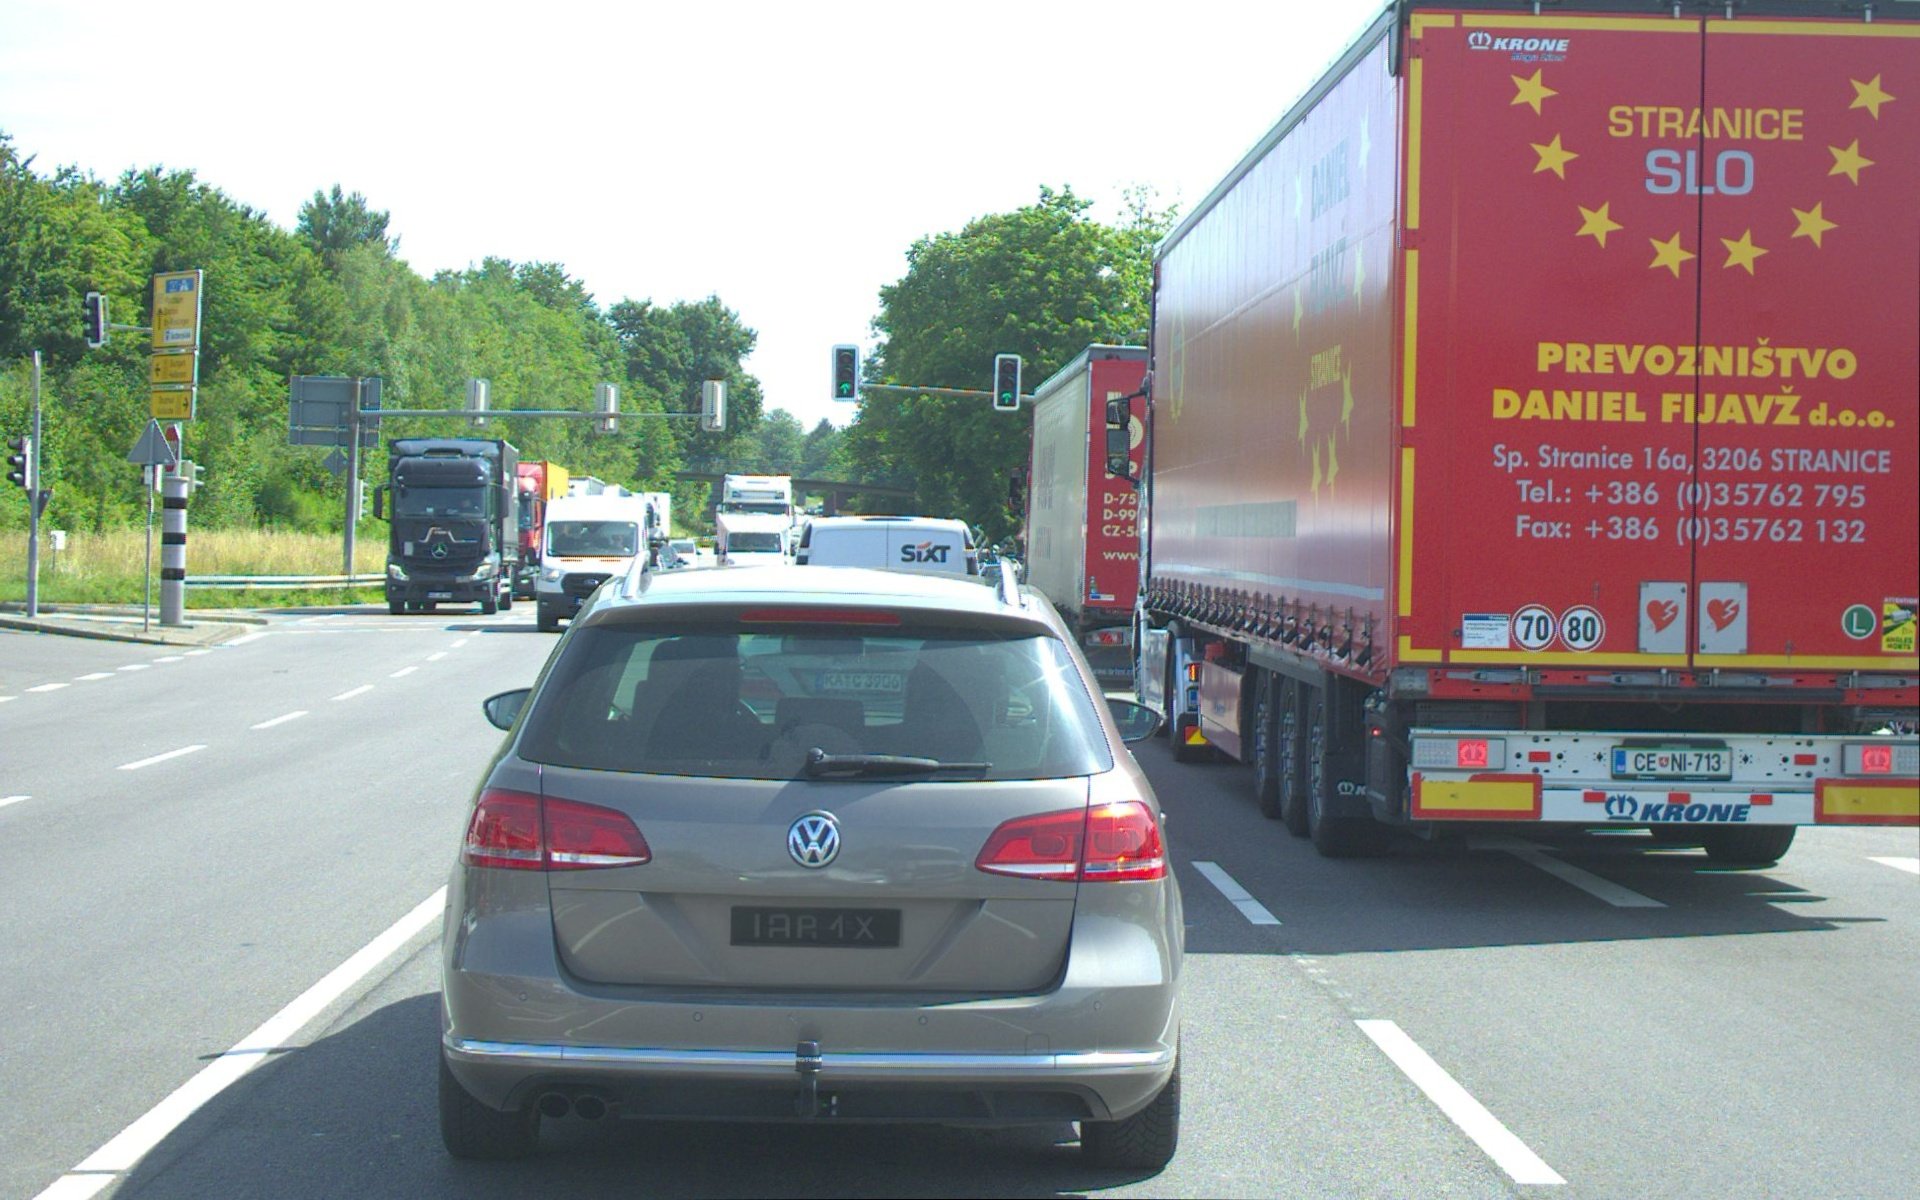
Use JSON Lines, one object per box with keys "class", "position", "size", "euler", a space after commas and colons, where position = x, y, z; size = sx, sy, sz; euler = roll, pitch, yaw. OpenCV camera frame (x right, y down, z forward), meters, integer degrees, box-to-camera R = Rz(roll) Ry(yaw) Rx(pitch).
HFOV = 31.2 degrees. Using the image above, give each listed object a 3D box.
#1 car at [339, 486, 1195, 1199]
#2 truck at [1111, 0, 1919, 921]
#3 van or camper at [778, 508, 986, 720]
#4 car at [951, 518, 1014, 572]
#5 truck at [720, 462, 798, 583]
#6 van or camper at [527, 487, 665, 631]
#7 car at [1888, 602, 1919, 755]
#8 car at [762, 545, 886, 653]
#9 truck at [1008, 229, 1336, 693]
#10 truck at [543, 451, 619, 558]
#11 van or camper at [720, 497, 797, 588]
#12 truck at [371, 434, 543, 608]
{"class": "car", "position": [-0.342, 0.560, 8.933], "size": [1.790, 1.633, 3.503], "euler": [0, 1, 2]}
{"class": "truck", "position": [3.043, -0.937, 22.657], "size": [2.957, 4.255, 16.585], "euler": [1, 1, -1]}
{"class": "van or camper", "position": [-0.766, 0.095, 33.180], "size": [1.852, 1.899, 3.785], "euler": [1, 1, -2]}
{"class": "car", "position": [0.651, -1.627, 102.185], "size": [1.727, 1.514, 3.312], "euler": [2, 0, -2]}
{"class": "truck", "position": [-7.358, -2.844, 126.718], "size": [2.553, 4.292, 7.596], "euler": [0, 1, -1]}
{"class": "van or camper", "position": [-6.710, -0.771, 63.786], "size": [2.173, 2.542, 4.171], "euler": [1, 1, -2]}
{"class": "car", "position": [11.093, 0.811, 32.269], "size": [4.197, 1.450, 1.842], "euler": [2, 1, 42]}
{"class": "car", "position": [-2.001, -0.020, 51.281], "size": [1.727, 1.514, 3.312], "euler": [1, 0, -1]}
{"class": "truck", "position": [2.521, -1.720, 47.485], "size": [3.062, 5.203, 17.008], "euler": [1, 1, -1]}
{"class": "truck", "position": [-13.727, -3.448, 125.014], "size": [2.532, 3.773, 6.991], "euler": [-1, 1, -5]}
{"class": "van or camper", "position": [-6.530, -1.831, 111.911], "size": [2.224, 2.831, 5.711], "euler": [1, 0, -1]}
{"class": "truck", "position": [-11.443, -1.789, 78.800], "size": [2.813, 3.773, 6.990], "euler": [-1, 1, 1]}
